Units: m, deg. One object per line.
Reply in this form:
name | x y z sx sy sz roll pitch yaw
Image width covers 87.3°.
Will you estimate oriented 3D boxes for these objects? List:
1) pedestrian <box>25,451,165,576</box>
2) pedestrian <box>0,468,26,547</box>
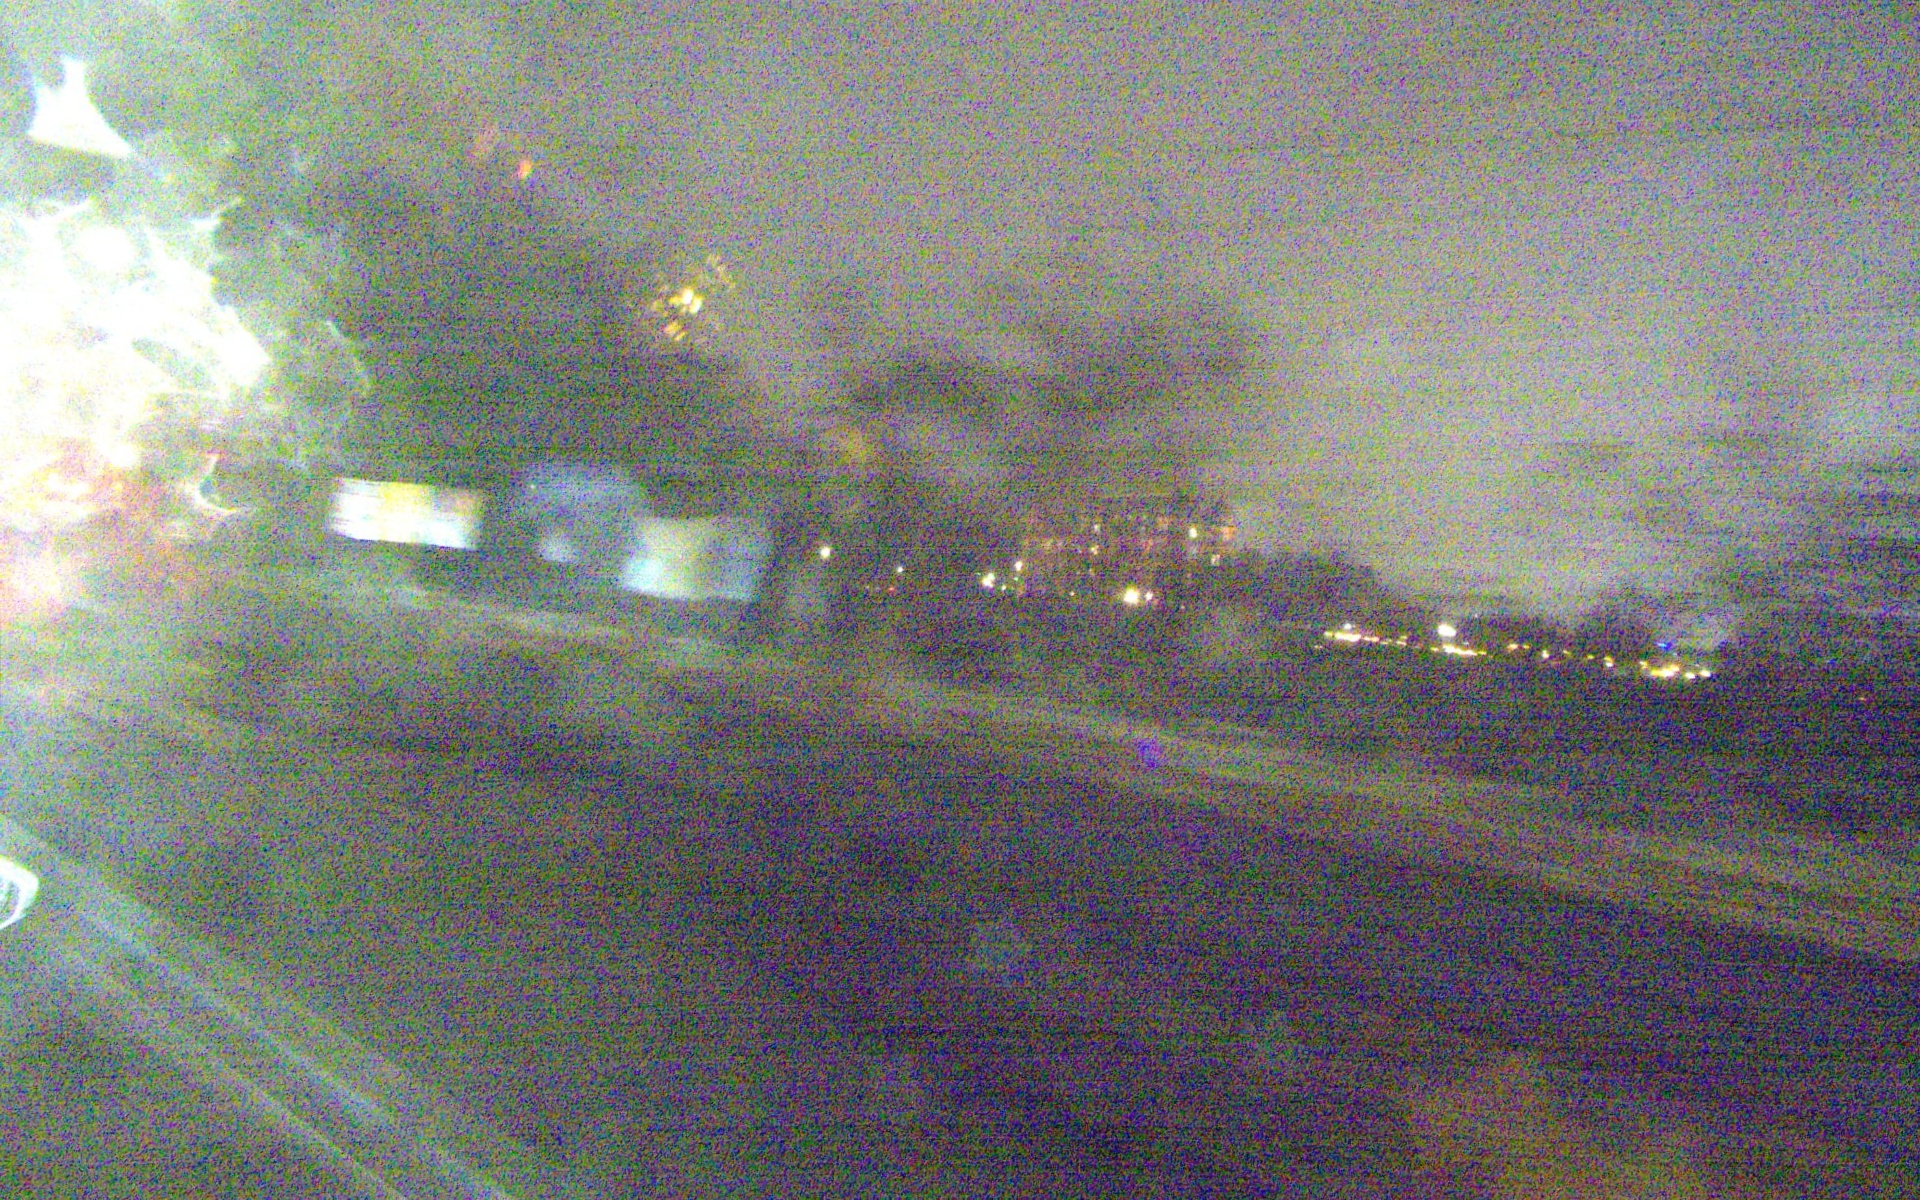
pedestrian | -14.349 -1.427 16.698 1.465 1.815 1.229 7 0 31
pedestrian | -18.977 -1.852 19.668 0.822 1.503 0.727 7 0 31
